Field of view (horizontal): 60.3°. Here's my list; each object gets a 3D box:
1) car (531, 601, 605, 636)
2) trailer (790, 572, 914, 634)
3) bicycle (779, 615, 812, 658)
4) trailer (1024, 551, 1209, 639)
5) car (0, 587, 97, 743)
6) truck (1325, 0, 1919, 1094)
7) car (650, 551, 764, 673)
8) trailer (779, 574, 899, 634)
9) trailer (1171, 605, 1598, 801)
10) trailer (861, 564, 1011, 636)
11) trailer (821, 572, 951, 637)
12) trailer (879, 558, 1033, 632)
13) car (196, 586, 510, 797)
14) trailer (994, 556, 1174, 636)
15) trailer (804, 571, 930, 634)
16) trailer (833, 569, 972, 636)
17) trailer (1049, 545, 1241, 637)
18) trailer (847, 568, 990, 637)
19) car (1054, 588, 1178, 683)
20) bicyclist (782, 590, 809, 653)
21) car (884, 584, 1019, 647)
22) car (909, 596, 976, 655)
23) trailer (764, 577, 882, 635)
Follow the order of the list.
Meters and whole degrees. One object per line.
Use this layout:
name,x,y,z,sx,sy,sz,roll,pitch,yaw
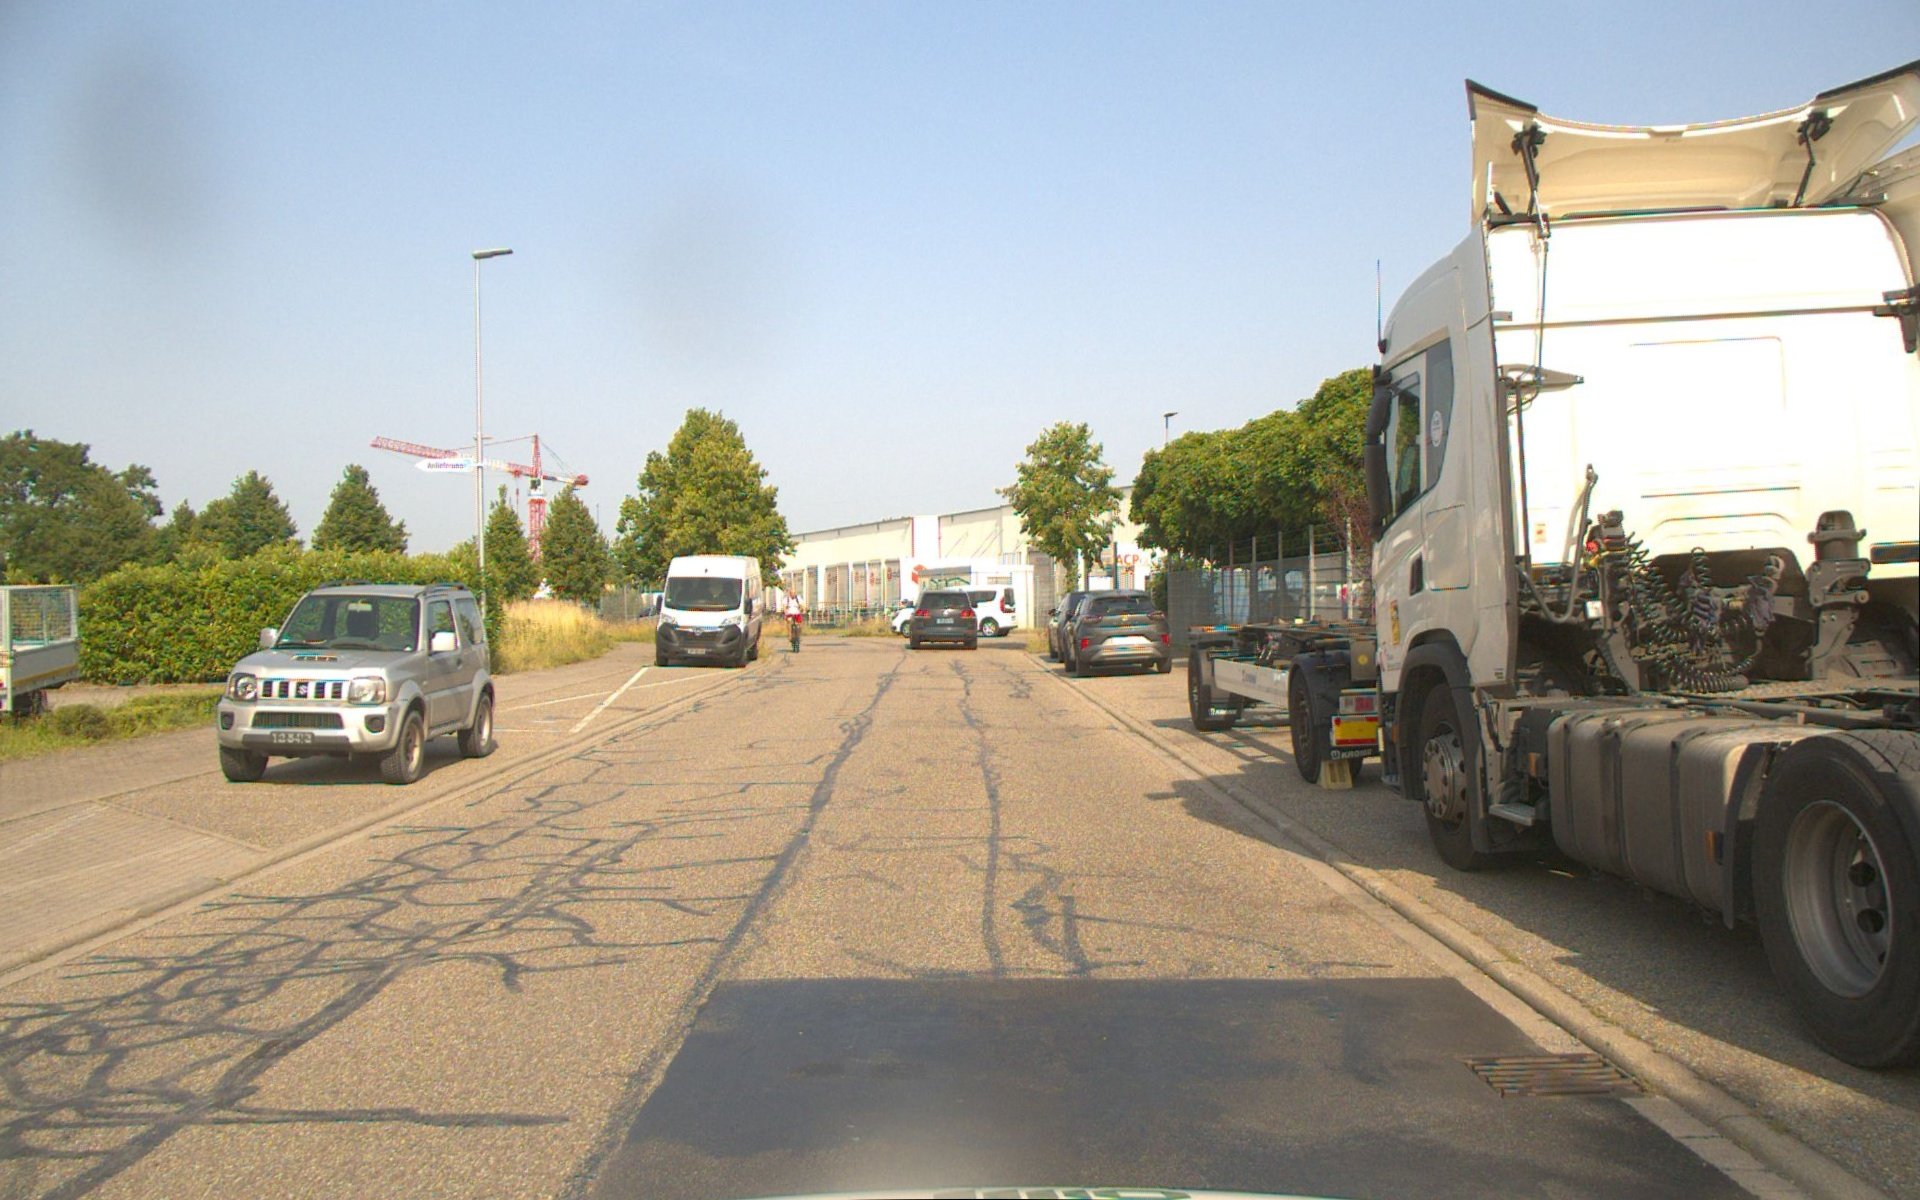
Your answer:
car,-18.856,0.912,79.481,1.955,1.601,4.057,0,-1,-38
trailer,-7.304,0.245,112.227,7.860,3.962,2.754,2,-1,-25
bicycle,-4.689,1.035,47.228,0.701,1.141,2.219,-3,0,-1
trailer,7.459,-0.269,78.503,8.421,3.962,2.756,-1,0,-23
car,-11.051,0.657,18.475,1.804,1.599,3.798,1,-1,-17
truck,3.816,-0.686,7.297,2.638,4.033,6.044,-3,0,-3
car,-5.985,0.284,39.816,2.060,2.640,6.499,2,0,-4
trailer,-8.405,0.288,115.281,7.860,3.962,2.754,2,-1,-25
trailer,3.447,0.733,15.303,1.899,1.257,7.450,-3,0,-1
trailer,-1.413,0.025,97.519,8.426,3.962,2.754,2,-1,-25
trailer,-4.770,0.312,106.917,7.929,3.962,2.754,2,-1,-25
trailer,-0.211,-0.236,94.580,8.426,3.962,2.754,2,-1,-25
car,-5.416,0.734,15.232,1.564,1.680,3.643,-1,0,-1
trailer,6.124,-0.151,81.297,8.618,3.827,2.769,0,-1,-25
trailer,-6.161,0.186,109.535,7.860,3.962,2.754,2,-1,-25
trailer,-3.574,0.194,103.143,8.200,3.962,2.754,2,-1,-25
trailer,8.493,-0.403,75.704,8.418,3.962,2.756,0,-3,-23
trailer,-2.486,0.178,100.295,8.200,3.962,2.754,2,-1,-25
car,2.872,0.646,31.226,1.842,1.601,4.112,-2,-1,-1
bicyclist,-4.698,0.607,47.243,0.626,1.749,1.165,-1,0,-1
car,-0.289,0.578,60.332,4.511,2.147,2.130,-1,-1,13
car,-0.514,0.742,48.134,1.842,1.614,4.112,-1,-1,-1
trailer,-9.773,0.456,117.996,7.860,3.962,2.754,2,-1,-25
